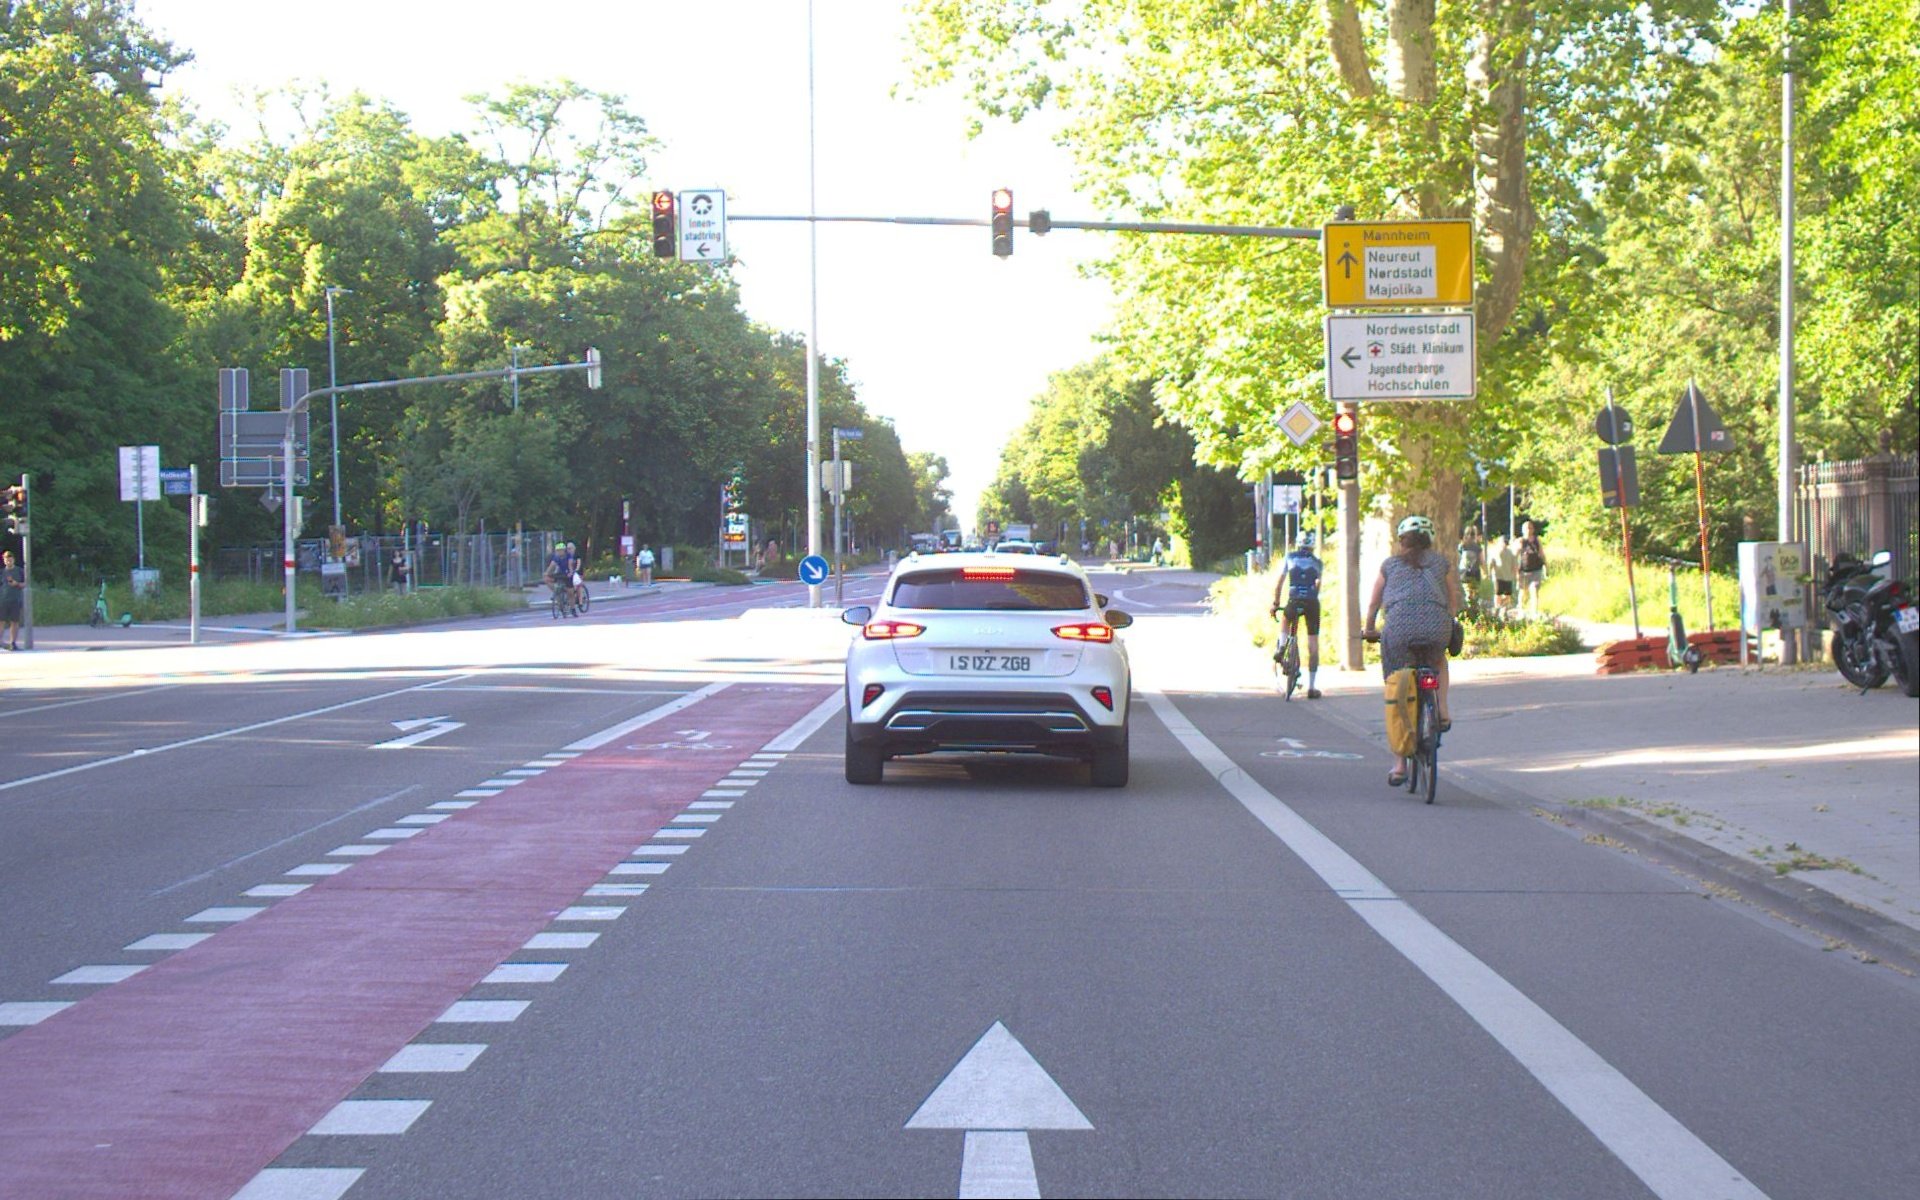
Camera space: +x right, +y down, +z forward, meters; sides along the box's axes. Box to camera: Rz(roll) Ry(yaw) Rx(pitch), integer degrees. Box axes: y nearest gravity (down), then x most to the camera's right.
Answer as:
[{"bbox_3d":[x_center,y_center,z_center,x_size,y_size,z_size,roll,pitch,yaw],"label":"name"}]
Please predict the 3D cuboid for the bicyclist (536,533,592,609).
[{"bbox_3d":[-9.277,-0.681,80.562,1.092,1.748,1.097,-1,1,2],"label":"bicyclist"}]

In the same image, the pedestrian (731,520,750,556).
[{"bbox_3d":[-13.314,-3.772,208.311,0.876,2.142,1.103,-1,1,9],"label":"pedestrian"}]

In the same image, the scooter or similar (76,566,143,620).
[{"bbox_3d":[-18.941,-0.164,76.589,0.511,1.140,1.699,-1,1,22],"label":"scooter or similar"}]

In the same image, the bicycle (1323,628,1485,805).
[{"bbox_3d":[2.722,0.697,21.268,0.753,1.022,1.869,0,0,0],"label":"bicycle"}]

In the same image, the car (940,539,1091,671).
[{"bbox_3d":[0.687,0.029,44.826,1.851,1.586,4.000,-1,1,0],"label":"car"}]

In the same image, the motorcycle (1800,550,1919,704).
[{"bbox_3d":[7.543,0.196,28.228,0.662,1.163,2.327,-3,1,0],"label":"motorcycle"}]

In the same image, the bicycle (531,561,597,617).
[{"bbox_3d":[-9.266,-0.275,80.568,1.102,1.250,2.779,-1,1,2],"label":"bicycle"}]

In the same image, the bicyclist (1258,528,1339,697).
[{"bbox_3d":[3.529,0.119,35.874,0.749,1.744,0.843,0,1,0],"label":"bicyclist"}]

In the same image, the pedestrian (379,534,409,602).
[{"bbox_3d":[-15.784,-0.895,95.872,0.651,1.881,0.662,-1,1,3],"label":"pedestrian"}]

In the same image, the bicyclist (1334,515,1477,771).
[{"bbox_3d":[2.727,0.249,21.112,0.747,1.532,0.969,0,1,0],"label":"bicyclist"}]

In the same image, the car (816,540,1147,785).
[{"bbox_3d":[0.131,0.347,23.106,1.993,1.448,4.000,-1,1,0],"label":"car"}]

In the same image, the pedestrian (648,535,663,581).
[{"bbox_3d":[-11.348,-1.551,128.035,0.519,1.699,0.528,-2,1,-4],"label":"pedestrian"}]

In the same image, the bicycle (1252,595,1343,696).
[{"bbox_3d":[3.521,0.465,35.983,0.753,1.022,1.869,0,0,0],"label":"bicycle"}]

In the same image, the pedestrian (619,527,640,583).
[{"bbox_3d":[-12.060,-1.636,125.297,0.656,2.007,0.832,-1,1,-2],"label":"pedestrian"}]

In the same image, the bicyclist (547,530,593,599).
[{"bbox_3d":[-9.819,-0.892,86.618,0.955,1.699,1.232,-1,1,2],"label":"bicyclist"}]

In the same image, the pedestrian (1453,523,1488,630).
[{"bbox_3d":[8.822,-0.407,59.445,0.482,1.786,0.432,-4,4,7],"label":"pedestrian"}]

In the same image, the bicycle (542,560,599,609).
[{"bbox_3d":[-9.809,-0.405,86.715,0.964,1.177,2.951,-1,1,2],"label":"bicycle"}]

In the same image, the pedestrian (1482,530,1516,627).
[{"bbox_3d":[9.348,-0.374,59.624,0.482,1.634,0.432,-4,4,7],"label":"pedestrian"}]

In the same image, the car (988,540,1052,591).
[{"bbox_3d":[1.947,-1.116,110.263,1.737,1.541,3.999,-1,1,6],"label":"car"}]

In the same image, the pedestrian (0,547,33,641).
[{"bbox_3d":[-18.679,-0.119,67.409,0.687,1.786,0.769,-4,2,0],"label":"pedestrian"}]

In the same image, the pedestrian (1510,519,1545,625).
[{"bbox_3d":[9.919,-0.488,60.088,0.482,1.786,0.432,-4,4,7],"label":"pedestrian"}]

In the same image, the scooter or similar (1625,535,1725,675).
[{"bbox_3d":[7.266,0.033,35.006,0.566,1.378,1.856,-1,1,-1],"label":"scooter or similar"}]
